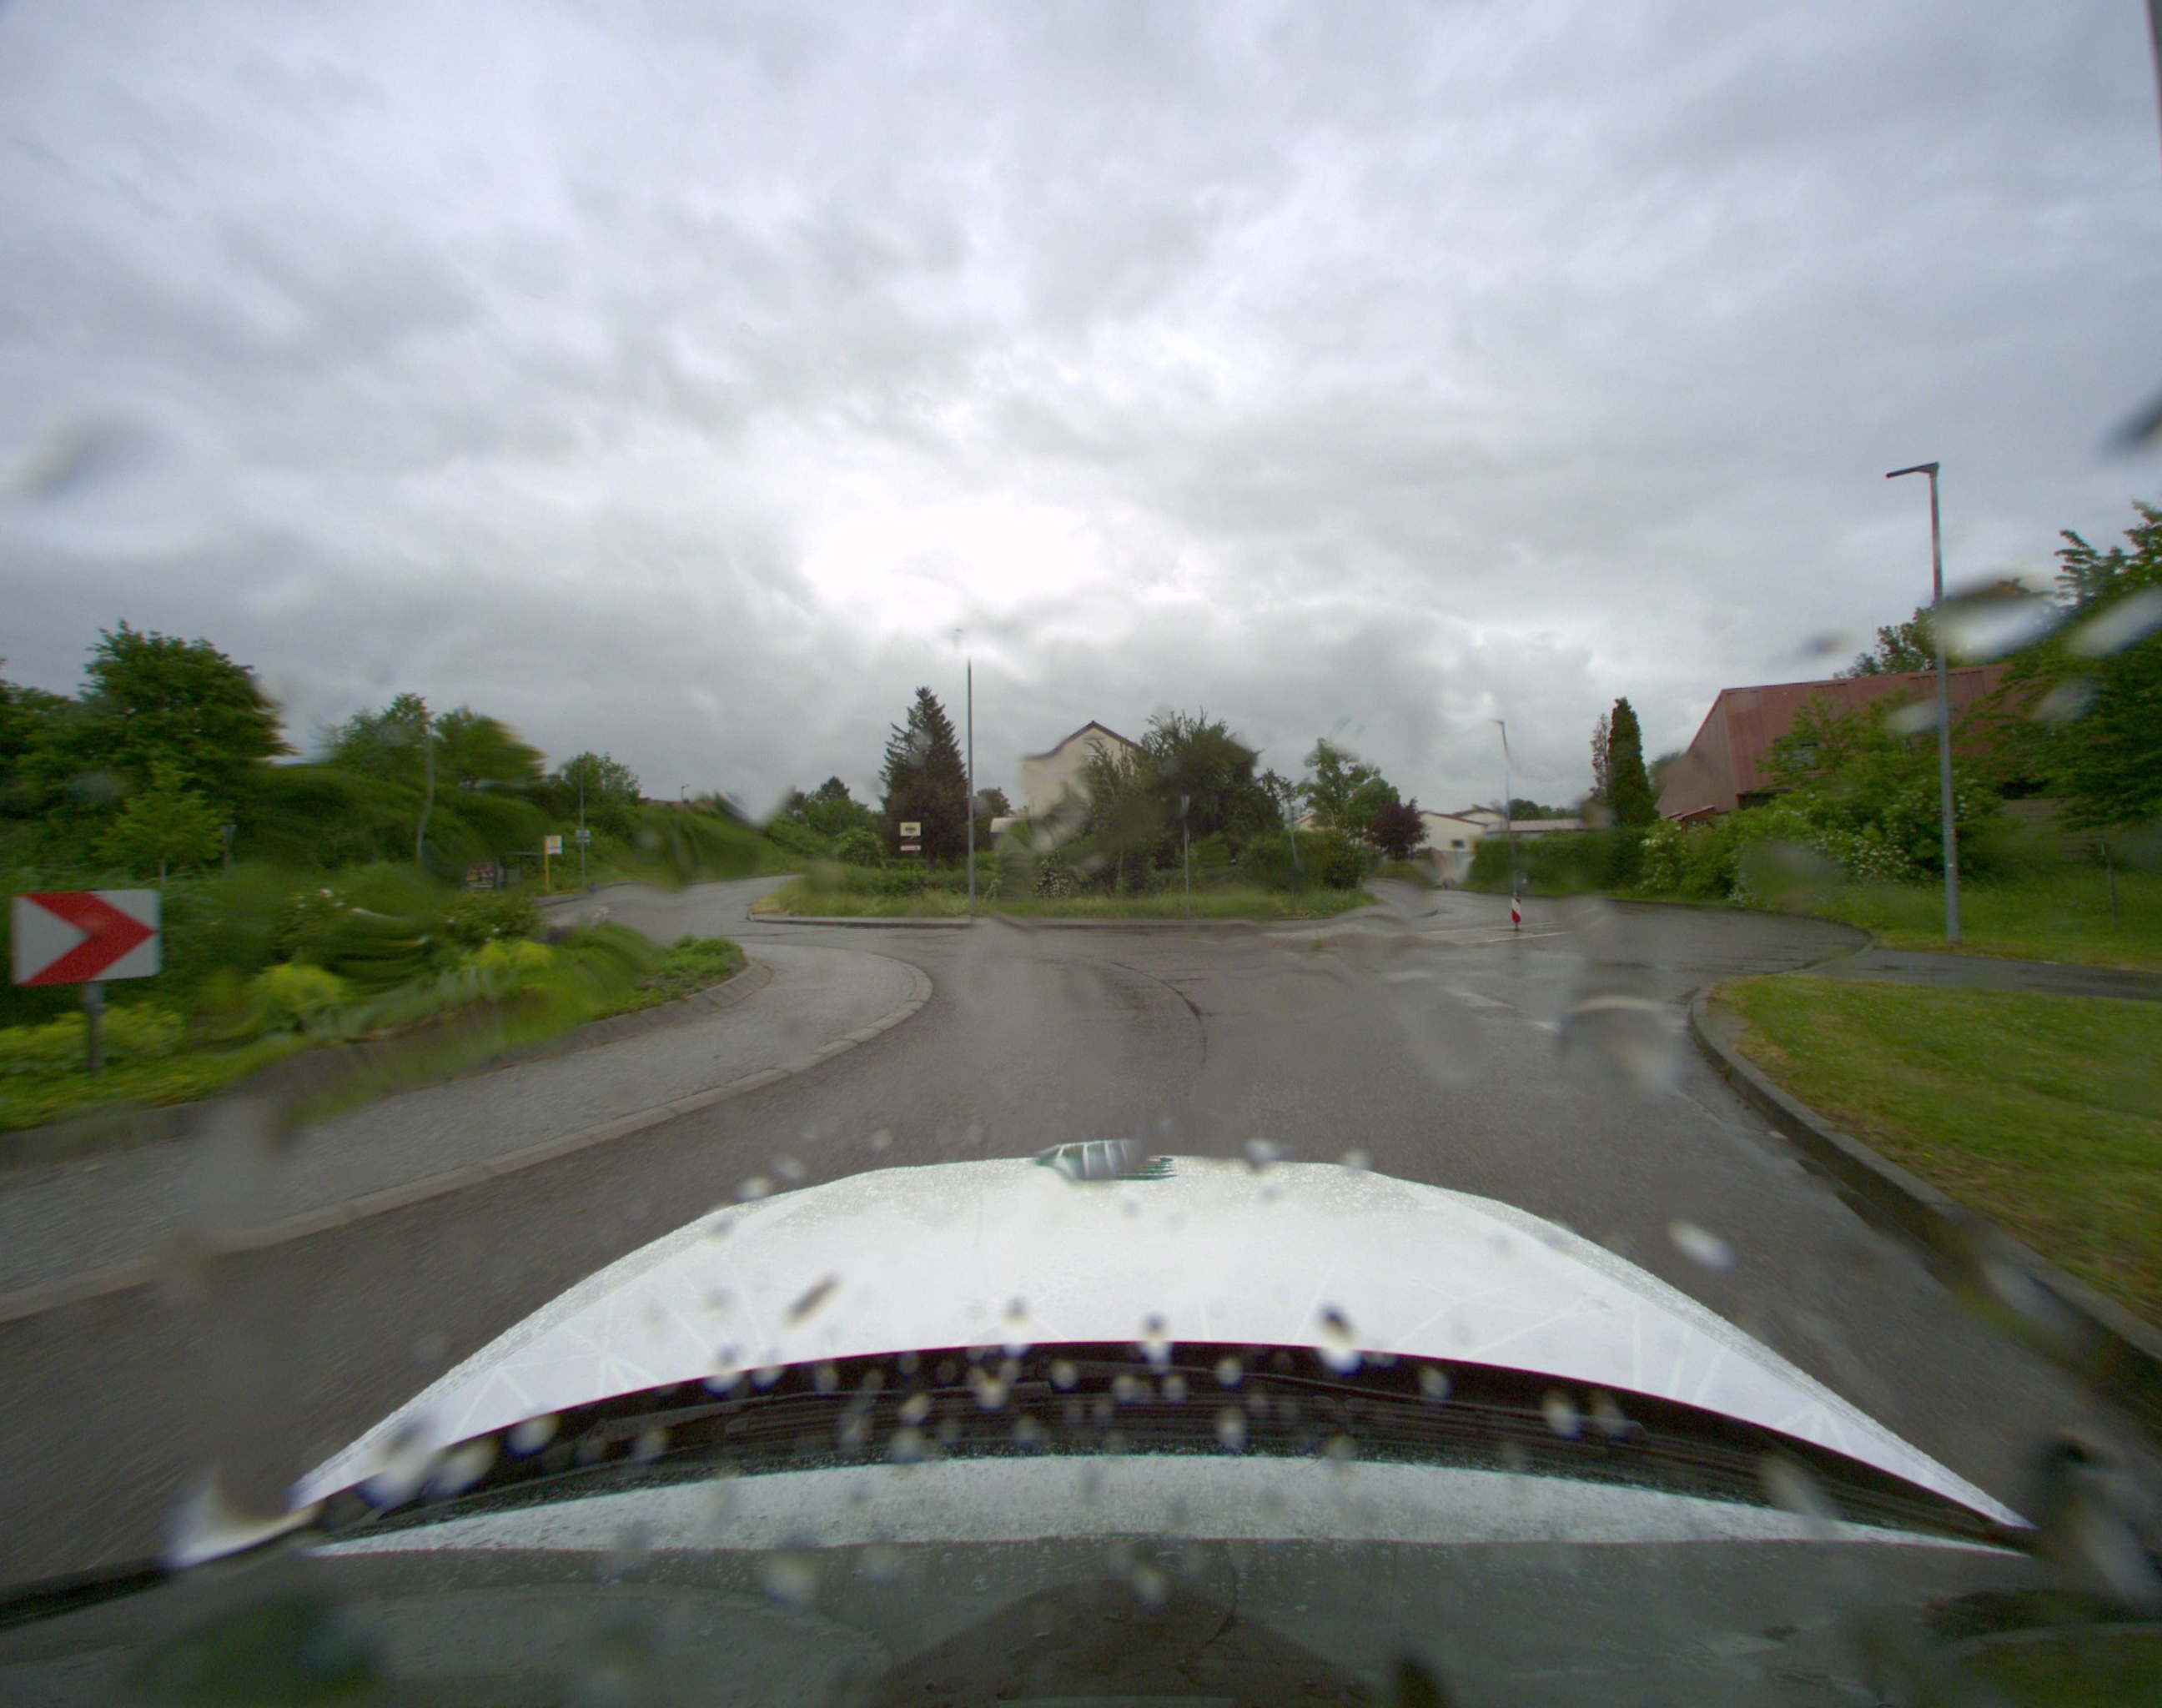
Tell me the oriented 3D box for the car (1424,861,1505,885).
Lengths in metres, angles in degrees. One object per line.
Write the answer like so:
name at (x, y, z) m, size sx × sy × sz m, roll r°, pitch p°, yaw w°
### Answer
car at (22.527, 1.119, 47.941) m, size 3.967 × 1.374 × 1.787 m, roll -1°, pitch -1°, yaw 6°
